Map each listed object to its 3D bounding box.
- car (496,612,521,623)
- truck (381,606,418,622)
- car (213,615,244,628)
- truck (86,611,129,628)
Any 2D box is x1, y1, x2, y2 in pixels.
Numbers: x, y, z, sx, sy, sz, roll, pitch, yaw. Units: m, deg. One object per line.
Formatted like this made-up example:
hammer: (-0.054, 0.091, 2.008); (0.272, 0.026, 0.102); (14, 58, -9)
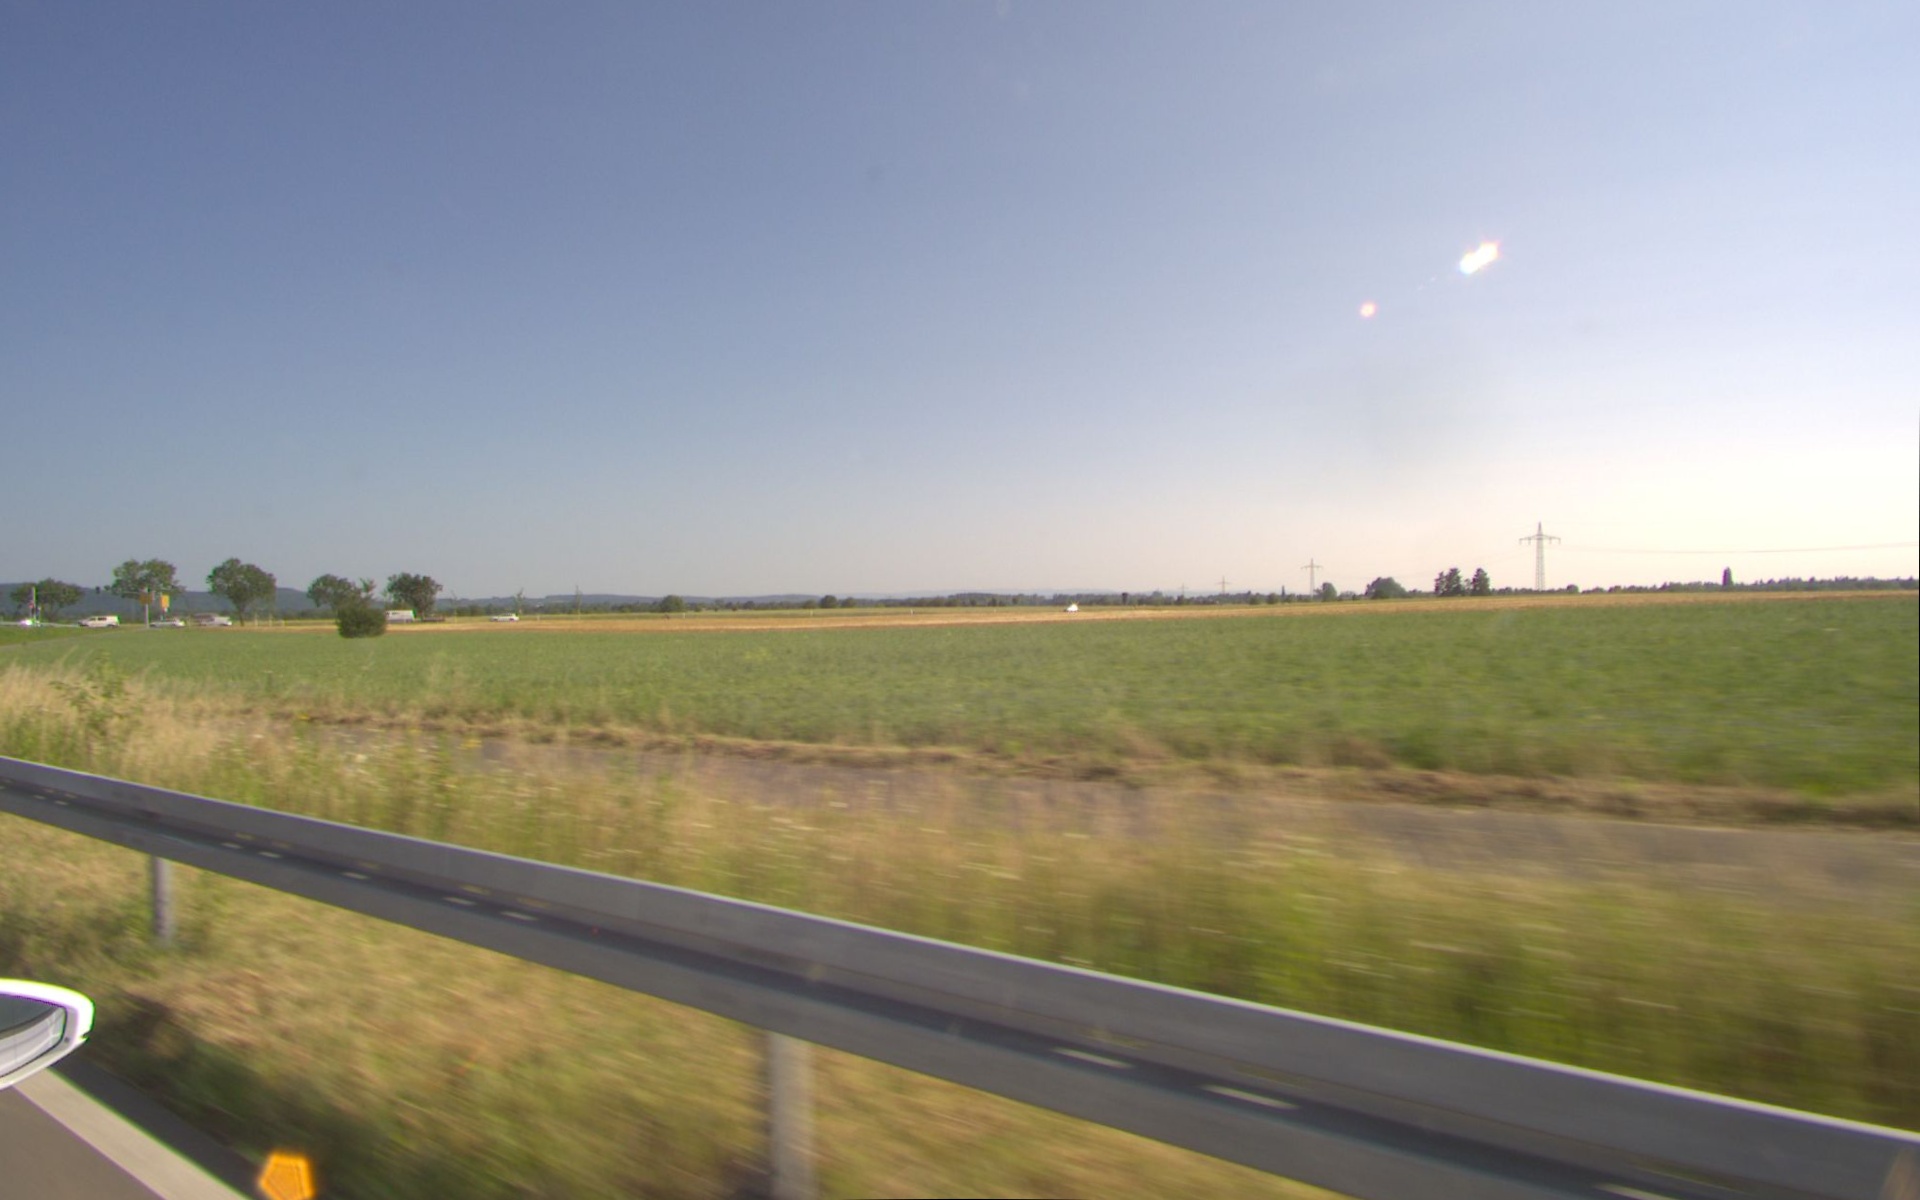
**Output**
car: (-82.351, 3.218, 182.721); (3.932, 2.040, 1.995); (-1, 0, -20)
truck: (-98.945, 2.480, 176.812); (5.511, 2.729, 3.283); (1, -2, -25)
car: (-124.256, 3.684, 170.019); (3.939, 2.039, 1.992); (1, -2, -27)
truck: (-137.243, 3.130, 161.231); (5.002, 2.561, 1.988); (1, -2, -35)
